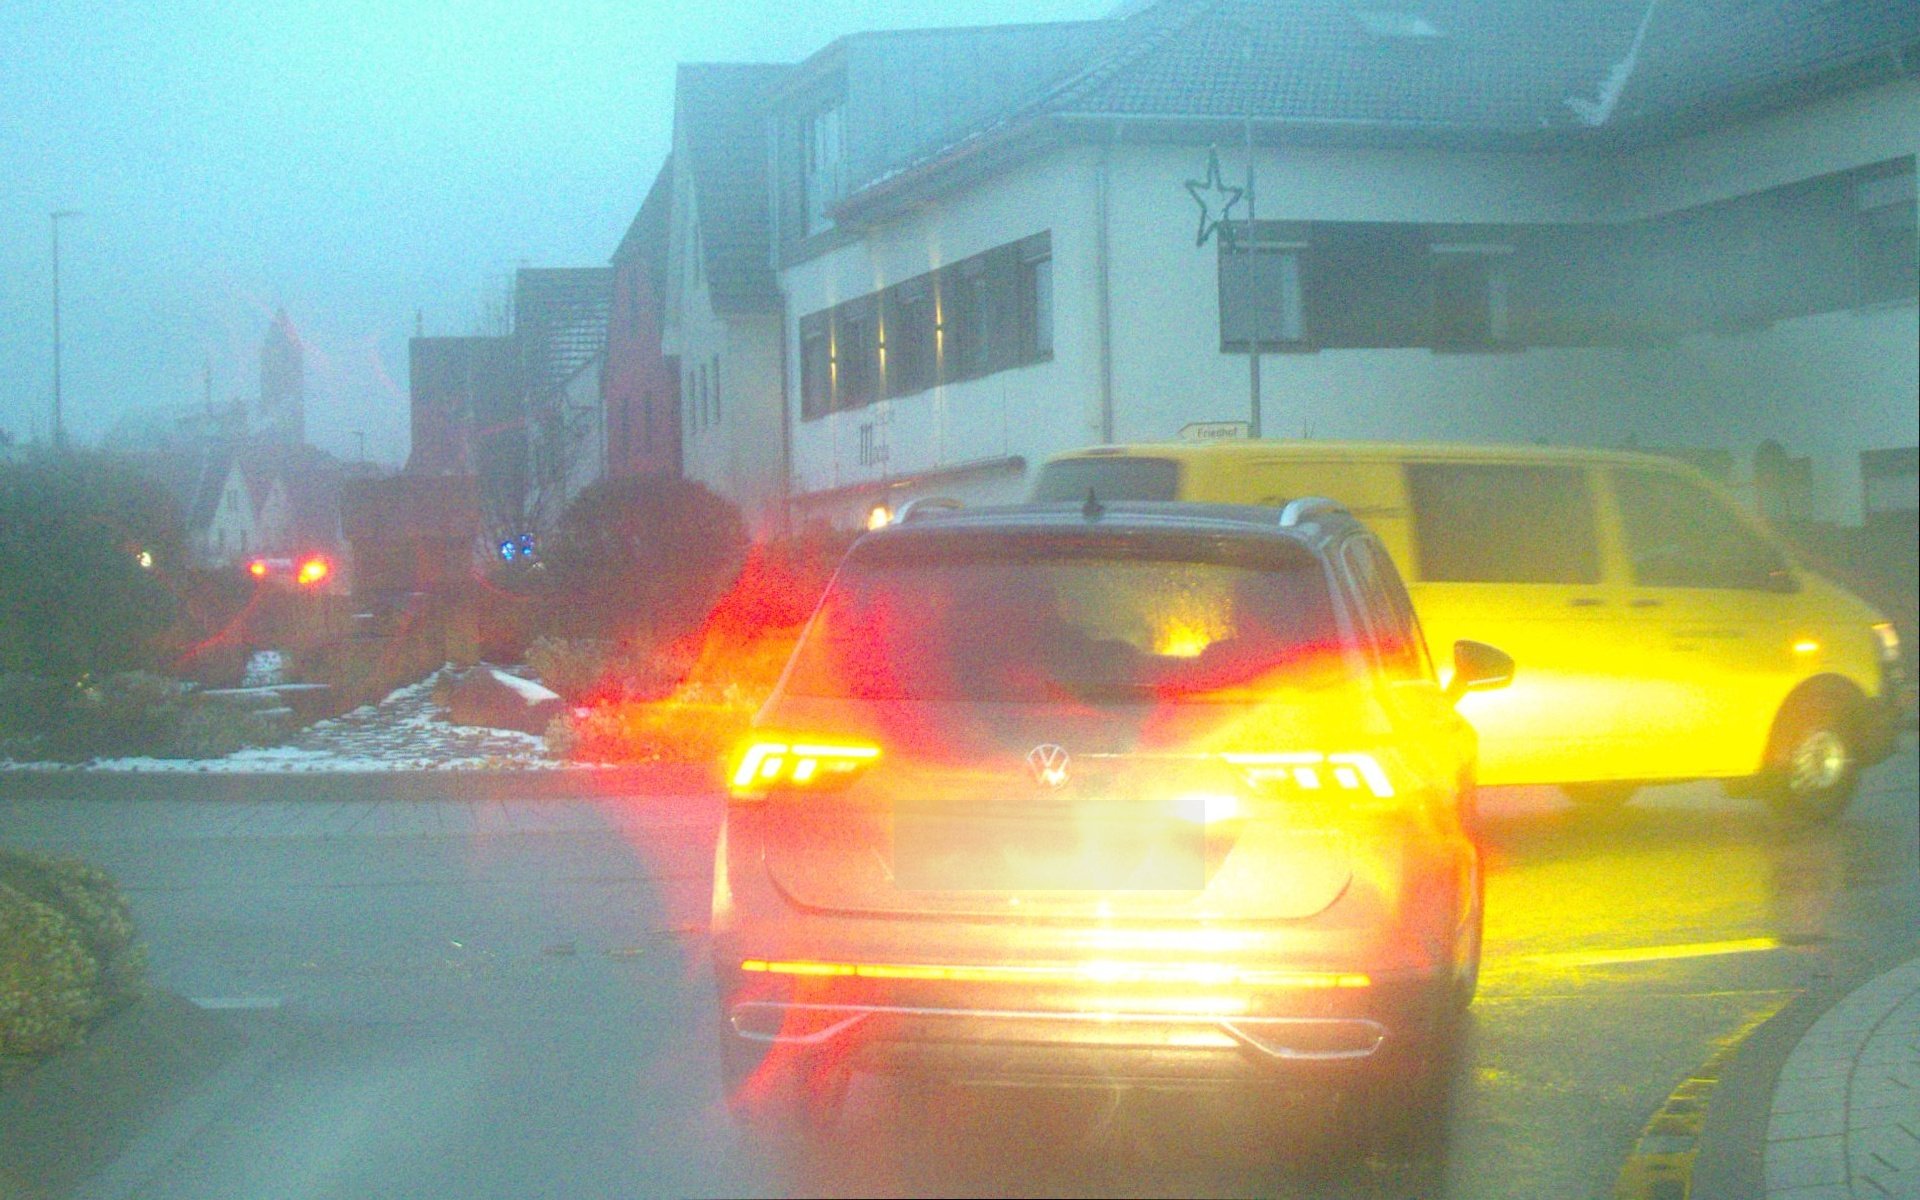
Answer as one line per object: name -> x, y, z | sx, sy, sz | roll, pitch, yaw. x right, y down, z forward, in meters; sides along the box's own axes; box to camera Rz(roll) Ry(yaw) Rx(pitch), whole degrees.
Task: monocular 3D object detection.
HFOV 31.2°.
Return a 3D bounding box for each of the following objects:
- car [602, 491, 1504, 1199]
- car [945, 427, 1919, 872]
car -> 0.492, 0.555, 9.608 | 1.916, 1.610, 3.948 | -1, 1, 10
car -> 2.570, 0.189, 17.441 | 4.883, 2.007, 2.000 | -1, 0, -24
